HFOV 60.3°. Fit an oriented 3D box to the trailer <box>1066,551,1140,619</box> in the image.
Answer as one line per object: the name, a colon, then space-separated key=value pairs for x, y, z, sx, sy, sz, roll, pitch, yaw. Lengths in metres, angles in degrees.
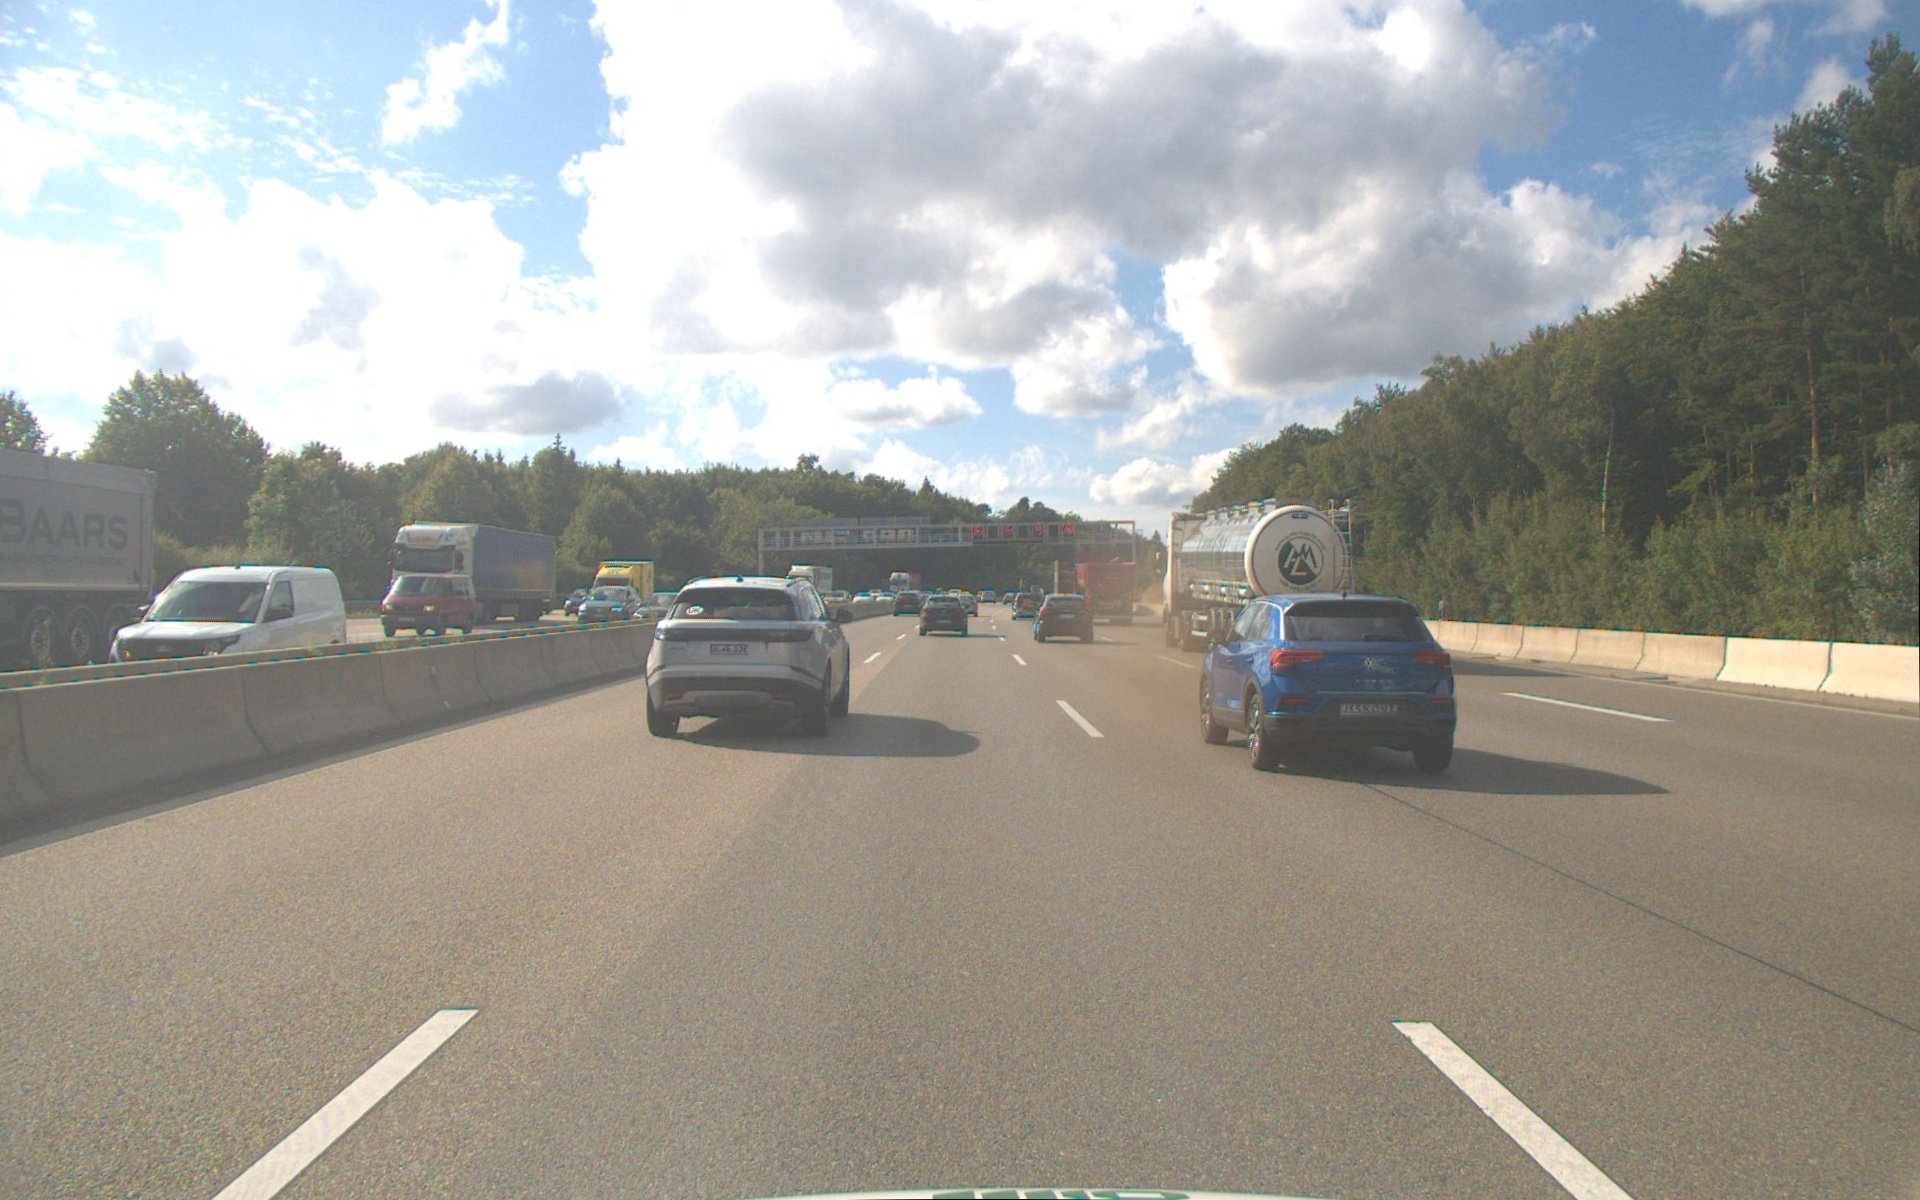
trailer: x=7.272 y=-0.791 z=85.438 sx=2.655 sy=3.287 sz=9.729 roll=1 pitch=1 yaw=-2

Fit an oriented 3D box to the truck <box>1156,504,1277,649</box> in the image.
truck: x=7.262 y=-0.656 z=47.487 sx=2.594 sy=3.890 sz=6.082 roll=0 pitch=0 yaw=1

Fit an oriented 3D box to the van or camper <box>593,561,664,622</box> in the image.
van or camper: x=-16.791 y=-0.449 z=84.077 sx=2.325 sy=2.942 sz=6.505 roll=-1 pitch=0 yaw=0

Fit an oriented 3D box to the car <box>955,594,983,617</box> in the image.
car: x=0.553 y=0.354 z=109.543 sx=1.785 sy=1.483 sz=3.999 roll=1 pitch=0 yaw=0

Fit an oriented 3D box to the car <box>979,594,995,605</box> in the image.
car: x=3.735 y=-0.072 z=227.601 sx=2.033 sy=1.483 sz=4.002 roll=-1 pitch=0 yaw=3

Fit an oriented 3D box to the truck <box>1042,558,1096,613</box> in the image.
truck: x=8.179 y=-1.081 z=125.796 sx=3.056 sy=4.003 sz=10.407 roll=0 pitch=0 yaw=-2

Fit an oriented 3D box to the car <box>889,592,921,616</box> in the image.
car: x=-3.556 y=0.256 z=107.684 sx=1.902 sy=1.483 sz=4.001 roll=-1 pitch=0 yaw=1

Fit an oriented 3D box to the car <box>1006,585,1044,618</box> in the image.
car: x=3.757 y=0.078 z=96.304 sx=1.855 sy=1.889 sz=4.099 roll=1 pitch=0 yaw=-2

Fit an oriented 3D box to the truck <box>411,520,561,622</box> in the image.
truck: x=-21.144 y=-1.238 z=74.834 sx=2.761 sy=4.166 sz=13.844 roll=0 pitch=0 yaw=0

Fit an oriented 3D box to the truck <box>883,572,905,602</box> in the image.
truck: x=-9.490 y=-1.832 z=238.495 sx=2.682 sy=4.178 sz=5.766 roll=0 pitch=0 yaw=2

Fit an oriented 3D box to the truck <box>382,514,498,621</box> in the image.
truck: x=-21.110 y=-1.276 z=67.498 sx=2.761 sy=4.166 sz=6.061 roll=0 pitch=0 yaw=0

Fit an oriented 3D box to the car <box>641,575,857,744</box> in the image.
car: x=-2.243 y=0.575 z=18.961 sx=1.966 sy=1.644 sz=5.298 roll=1 pitch=0 yaw=-2

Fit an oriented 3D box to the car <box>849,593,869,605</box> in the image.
car: x=-10.529 y=-0.138 z=172.567 sx=1.773 sy=1.181 sz=4.516 roll=1 pitch=0 yaw=1

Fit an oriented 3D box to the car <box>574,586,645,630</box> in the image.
car: x=-13.669 y=0.293 z=64.784 sx=1.806 sy=1.624 sz=4.912 roll=-1 pitch=0 yaw=-1

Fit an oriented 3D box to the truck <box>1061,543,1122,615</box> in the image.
truck: x=7.114 y=-1.136 z=90.458 sx=2.655 sy=3.783 sz=5.815 roll=1 pitch=1 yaw=-2

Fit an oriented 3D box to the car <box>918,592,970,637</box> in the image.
car: x=-0.606 y=0.499 z=59.437 sx=1.785 sy=1.573 sz=3.999 roll=0 pitch=0 yaw=-2

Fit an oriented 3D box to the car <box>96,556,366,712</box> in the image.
car: x=-9.890 y=0.412 z=22.880 sx=1.812 sy=1.911 sz=4.613 roll=-1 pitch=0 yaw=-2

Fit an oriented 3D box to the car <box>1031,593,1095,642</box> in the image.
car: x=3.258 y=0.537 z=52.935 sx=1.785 sy=1.483 sz=4.000 roll=0 pitch=0 yaw=0

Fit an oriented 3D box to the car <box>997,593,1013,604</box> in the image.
car: x=5.908 y=-0.197 z=216.083 sx=2.034 sy=1.483 sz=4.001 roll=-1 pitch=0 yaw=1

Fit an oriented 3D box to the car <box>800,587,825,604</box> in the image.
car: x=-12.718 y=-0.361 z=142.887 sx=1.733 sy=1.419 sz=4.690 roll=1 pitch=0 yaw=0

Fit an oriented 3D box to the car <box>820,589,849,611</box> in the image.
car: x=-9.238 y=0.011 z=122.268 sx=1.825 sy=1.579 sz=4.661 roll=0 pitch=0 yaw=0

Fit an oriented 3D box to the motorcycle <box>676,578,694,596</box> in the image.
motorcycle: x=-16.100 y=-0.748 z=96.816 sx=0.597 sy=1.058 sz=2.175 roll=0 pitch=0 yaw=2

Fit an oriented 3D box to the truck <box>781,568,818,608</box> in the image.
truck: x=-17.203 y=-1.237 z=177.412 sx=3.249 sy=4.178 sz=6.225 roll=0 pitch=0 yaw=0

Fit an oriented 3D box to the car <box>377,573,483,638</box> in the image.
car: x=-16.878 y=0.156 z=52.903 sx=1.809 sy=1.974 sz=5.032 roll=0 pitch=0 yaw=-1

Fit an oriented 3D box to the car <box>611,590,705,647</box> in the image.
car: x=-10.617 y=0.612 z=58.506 sx=2.126 sy=1.911 sz=5.363 roll=-1 pitch=0 yaw=2

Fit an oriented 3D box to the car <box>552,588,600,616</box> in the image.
car: x=-21.248 y=0.116 z=91.572 sx=1.662 sy=1.496 sz=4.022 roll=0 pitch=0 yaw=1

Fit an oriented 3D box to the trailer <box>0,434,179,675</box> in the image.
trailer: x=-17.125 y=-0.756 z=27.493 sx=2.906 sy=3.925 sz=11.280 roll=0 pitch=0 yaw=0

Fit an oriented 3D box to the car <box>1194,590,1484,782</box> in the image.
car: x=3.467 y=0.699 z=15.977 sx=1.737 sy=1.556 sz=4.457 roll=1 pitch=0 yaw=0

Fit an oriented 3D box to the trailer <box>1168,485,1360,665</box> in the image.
trailer: x=7.249 y=-0.567 z=41.368 sx=2.594 sy=3.833 sz=11.859 roll=0 pitch=0 yaw=0
